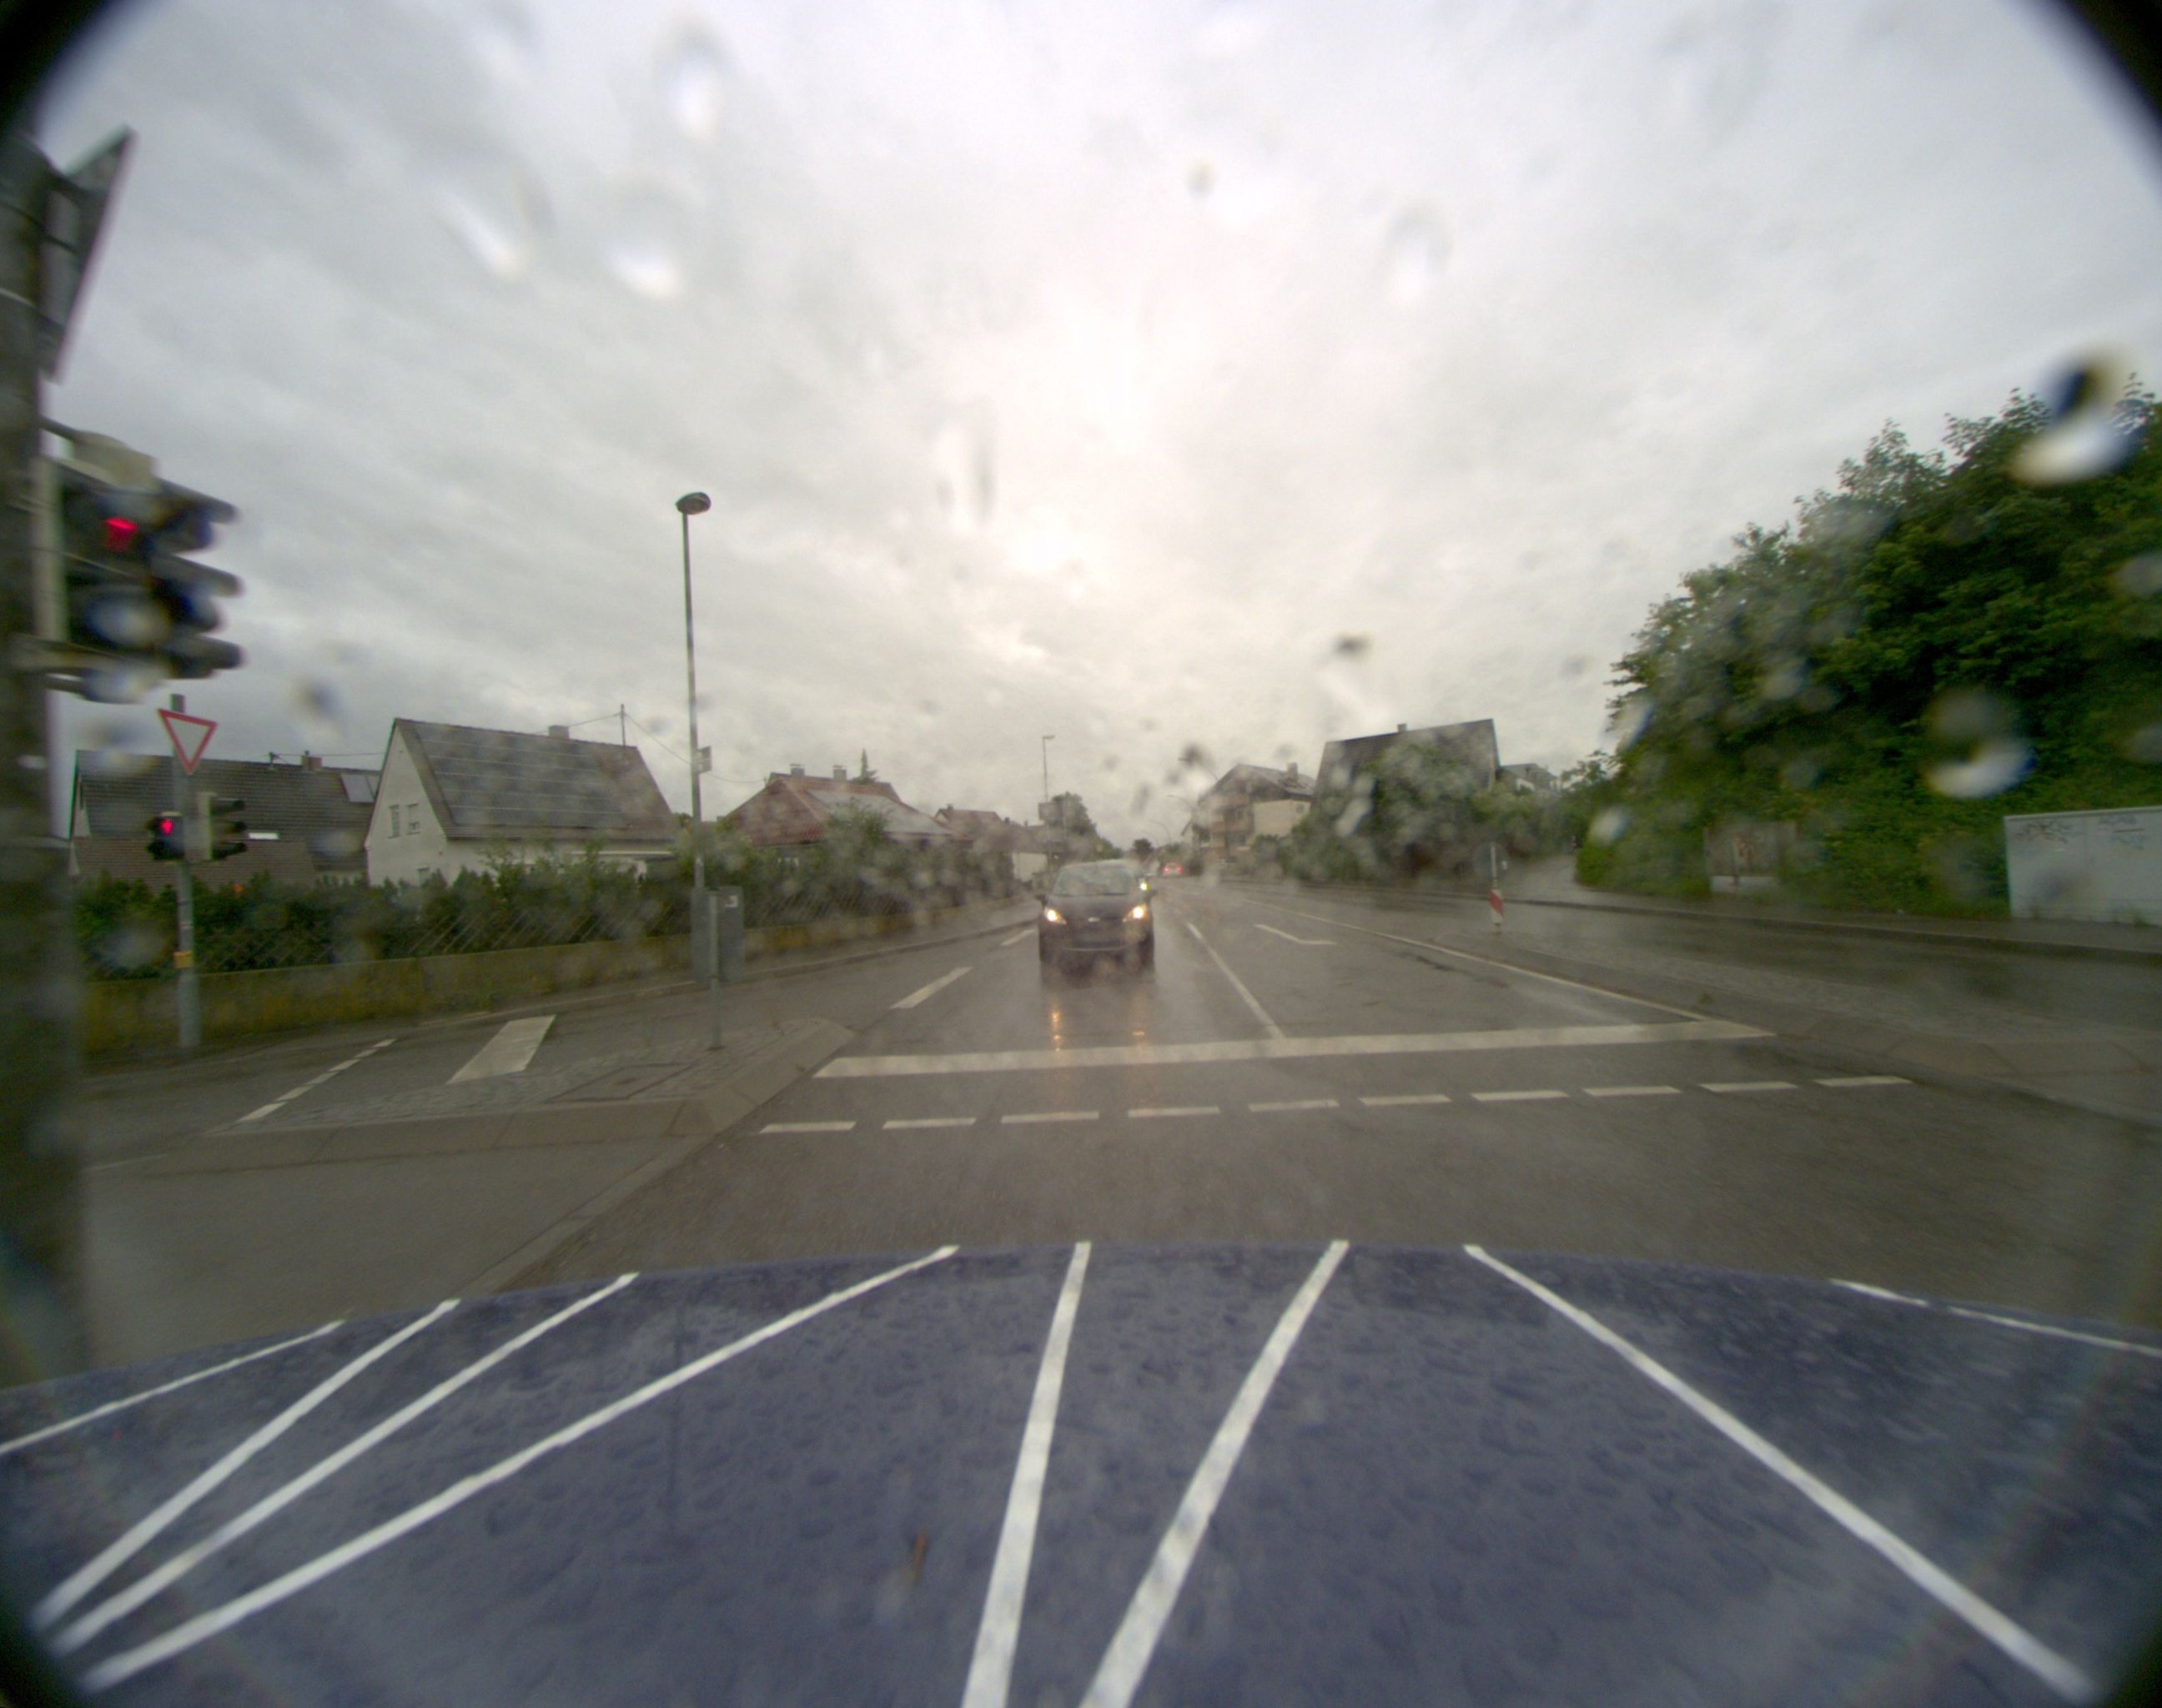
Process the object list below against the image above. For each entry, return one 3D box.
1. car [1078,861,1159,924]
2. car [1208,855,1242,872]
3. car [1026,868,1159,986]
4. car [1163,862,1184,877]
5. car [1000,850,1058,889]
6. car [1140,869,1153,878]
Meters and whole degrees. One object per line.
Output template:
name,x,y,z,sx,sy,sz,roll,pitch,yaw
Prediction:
car,0.972,0.956,20.462,1.898,1.474,4.001,-2,-1,2
car,14.476,0.939,76.258,1.661,1.538,4.007,-2,1,39
car,0.249,0.992,11.918,1.665,1.410,3.933,-3,0,3
car,9.576,1.582,79.092,1.624,1.496,3.822,-1,0,-1
car,-3.315,0.990,49.326,1.650,2.337,4.007,-3,0,31
car,11.252,3.346,130.621,1.669,1.496,4.321,-3,0,-2
